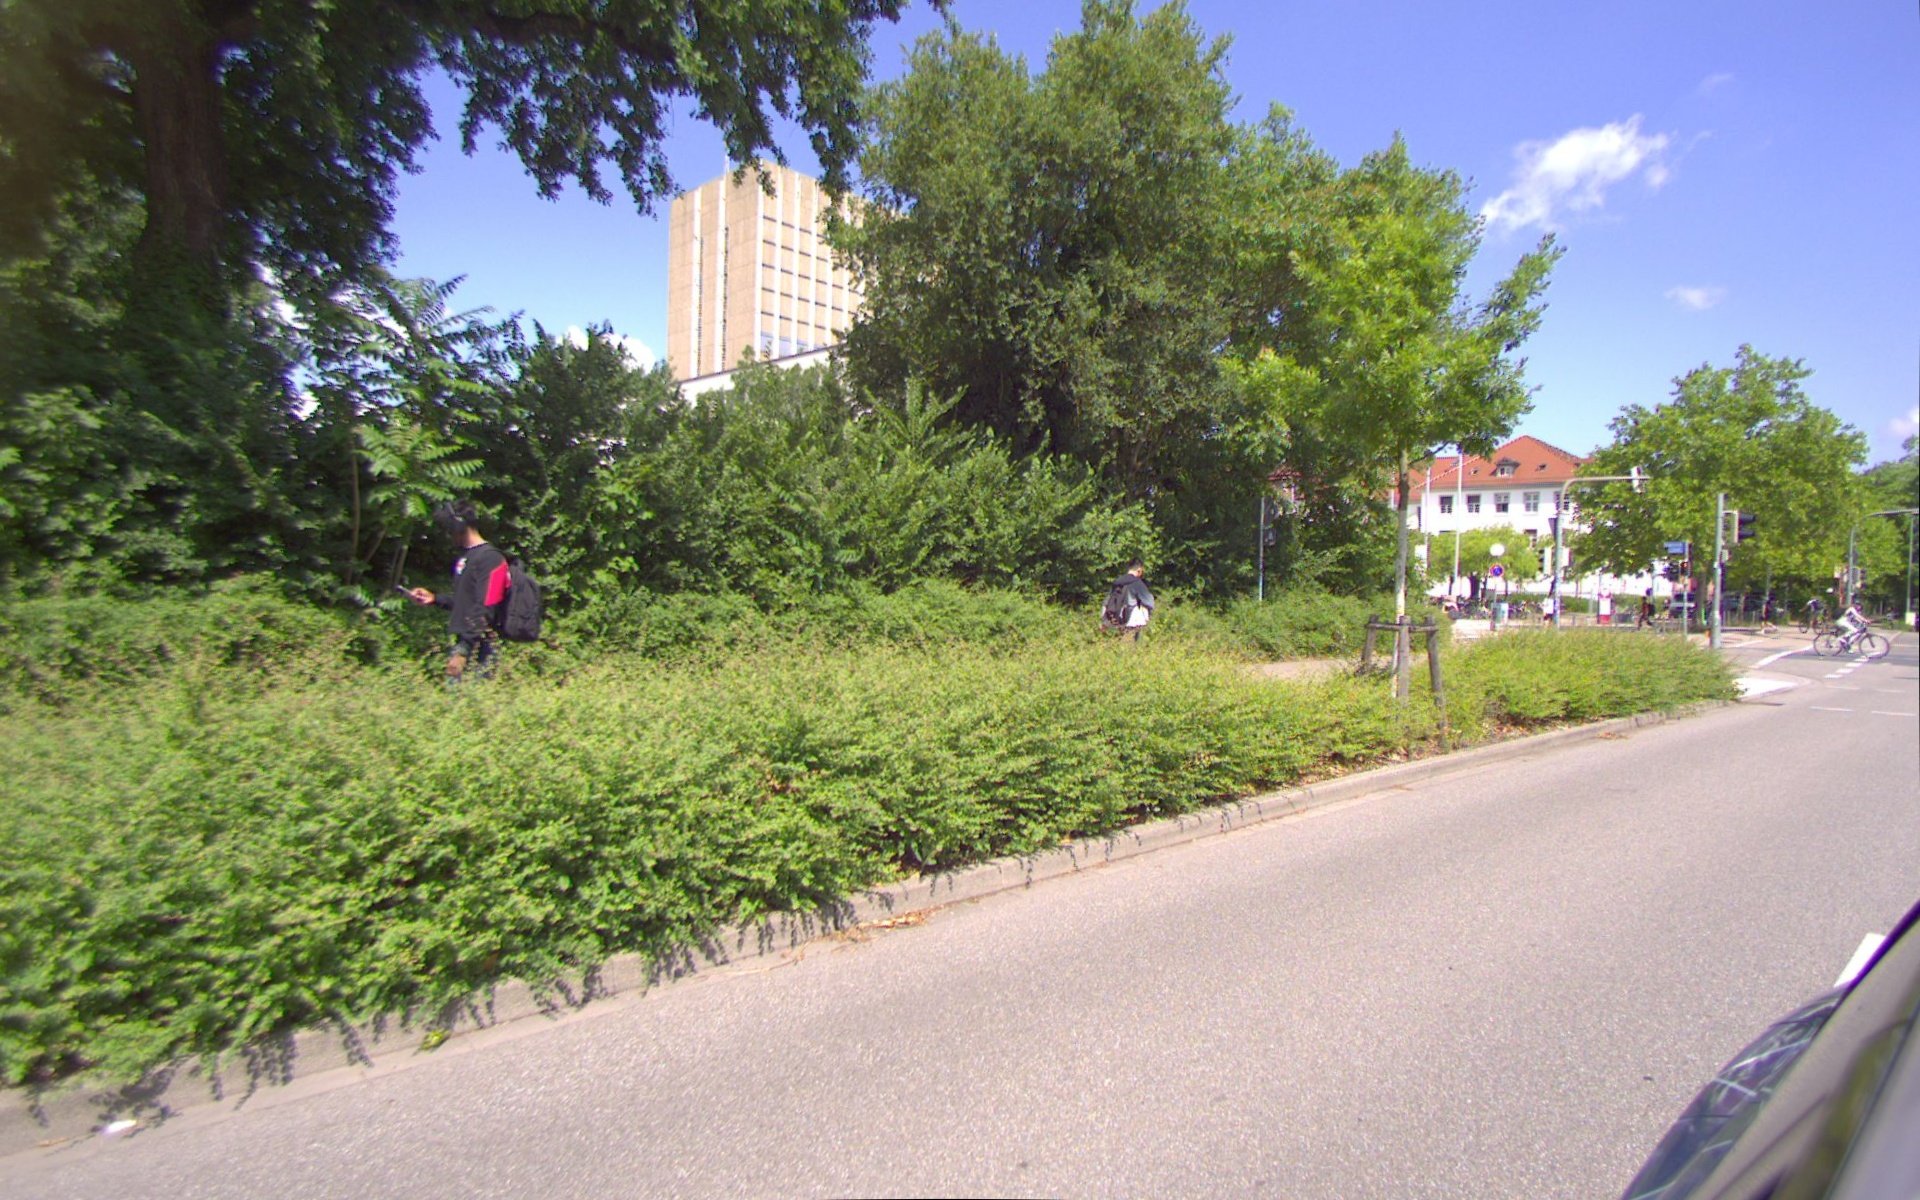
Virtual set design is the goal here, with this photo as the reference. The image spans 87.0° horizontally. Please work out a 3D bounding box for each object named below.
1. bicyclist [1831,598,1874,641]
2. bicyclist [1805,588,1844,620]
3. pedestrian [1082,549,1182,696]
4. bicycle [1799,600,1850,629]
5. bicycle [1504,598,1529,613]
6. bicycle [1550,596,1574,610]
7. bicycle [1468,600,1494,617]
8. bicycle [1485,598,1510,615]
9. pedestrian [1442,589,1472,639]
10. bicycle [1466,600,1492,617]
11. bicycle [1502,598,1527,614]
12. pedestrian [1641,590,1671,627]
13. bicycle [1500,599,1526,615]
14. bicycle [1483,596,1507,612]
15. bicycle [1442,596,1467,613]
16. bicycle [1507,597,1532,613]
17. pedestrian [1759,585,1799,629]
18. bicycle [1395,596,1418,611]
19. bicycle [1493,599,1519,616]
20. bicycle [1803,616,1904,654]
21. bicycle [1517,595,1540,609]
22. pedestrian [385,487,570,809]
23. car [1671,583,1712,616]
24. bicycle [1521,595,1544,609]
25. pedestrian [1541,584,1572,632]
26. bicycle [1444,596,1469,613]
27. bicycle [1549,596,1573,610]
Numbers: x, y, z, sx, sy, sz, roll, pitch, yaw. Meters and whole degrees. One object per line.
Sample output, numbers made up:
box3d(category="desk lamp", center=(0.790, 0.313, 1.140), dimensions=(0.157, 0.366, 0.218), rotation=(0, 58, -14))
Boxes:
box3d(category="bicyclist", center=(26.775, 0.572, 30.377), dimensions=(0.827, 1.241, 0.612), rotation=(2, 1, 31))
box3d(category="bicyclist", center=(40.011, 0.184, 46.846), dimensions=(0.958, 1.462, 1.072), rotation=(1, 1, 15))
box3d(category="pedestrian", center=(2.140, 0.258, 12.621), dimensions=(0.913, 1.743, 0.815), rotation=(0, 1, -41))
box3d(category="bicycle", center=(40.017, 0.643, 46.886), dimensions=(0.872, 1.267, 2.156), rotation=(1, 1, 14))
box3d(category="bicycle", center=(36.306, 0.349, 66.016), dimensions=(1.367, 0.963, 0.347), rotation=(2, 1, 43))
box3d(category="bicycle", center=(43.624, 0.225, 73.315), dimensions=(1.424, 0.963, 0.347), rotation=(2, 1, 43))
box3d(category="bicycle", center=(32.228, 0.526, 62.644), dimensions=(1.367, 0.958, 0.347), rotation=(2, 1, 43))
box3d(category="bicycle", center=(33.646, 0.402, 63.355), dimensions=(1.367, 0.963, 0.347), rotation=(2, 1, 43))
box3d(category="pedestrian", center=(16.523, 0.458, 33.650), dimensions=(0.632, 1.646, 0.636), rotation=(1, 1, -7))
box3d(category="bicycle", center=(31.893, 0.529, 62.183), dimensions=(1.367, 0.963, 0.347), rotation=(2, 1, 43))
box3d(category="bicycle", center=(35.885, 0.376, 65.529), dimensions=(1.367, 0.963, 0.347), rotation=(2, 1, 43))
box3d(category="pedestrian", center=(31.451, 0.376, 45.755), dimensions=(1.056, 1.617, 0.960), rotation=(1, 1, 33))
box3d(category="bicycle", center=(34.896, 0.444, 63.907), dimensions=(1.367, 0.963, 0.347), rotation=(2, 1, 43))
box3d(category="bicycle", center=(36.011, 0.267, 68.111), dimensions=(1.407, 0.963, 0.347), rotation=(2, 1, 43))
box3d(category="bicycle", center=(31.394, 0.288, 64.283), dimensions=(1.367, 1.013, 0.347), rotation=(2, 1, 43))
box3d(category="bicycle", center=(36.762, 0.327, 66.477), dimensions=(1.367, 0.963, 0.347), rotation=(2, 1, 43))
box3d(category="pedestrian", center=(37.139, 0.318, 45.913), dimensions=(0.951, 1.950, 1.034), rotation=(1, 1, -21))
box3d(category="bicycle", center=(29.268, 0.222, 66.359), dimensions=(0.346, 0.963, 1.371), rotation=(1, 1, -38))
box3d(category="bicycle", center=(34.287, 0.465, 63.544), dimensions=(1.367, 0.963, 0.347), rotation=(2, 1, 43))
box3d(category="bicycle", center=(26.774, 1.044, 30.371), dimensions=(2.146, 1.011, 0.640), rotation=(2, 1, 31))
box3d(category="bicycle", center=(41.635, 0.170, 74.157), dimensions=(1.424, 0.963, 0.347), rotation=(2, 1, 43))
box3d(category="pedestrian", center=(-2.871, 0.249, 6.022), dimensions=(0.822, 1.743, 0.717), rotation=(0, 1, -41))
box3d(category="car", center=(48.685, -0.019, 67.318), dimensions=(1.991, 2.080, 4.169), rotation=(2, 1, 39))
box3d(category="bicycle", center=(42.154, 0.165, 74.561), dimensions=(1.424, 0.963, 0.347), rotation=(2, 1, 43))
box3d(category="pedestrian", center=(24.484, 0.316, 41.545), dimensions=(0.876, 1.896, 0.957), rotation=(2, 1, 43))
box3d(category="bicycle", center=(31.738, 0.275, 64.647), dimensions=(1.367, 1.013, 0.347), rotation=(2, 1, 43))
box3d(category="bicycle", center=(43.311, 0.232, 72.909), dimensions=(1.424, 0.963, 0.347), rotation=(2, 1, 43))
